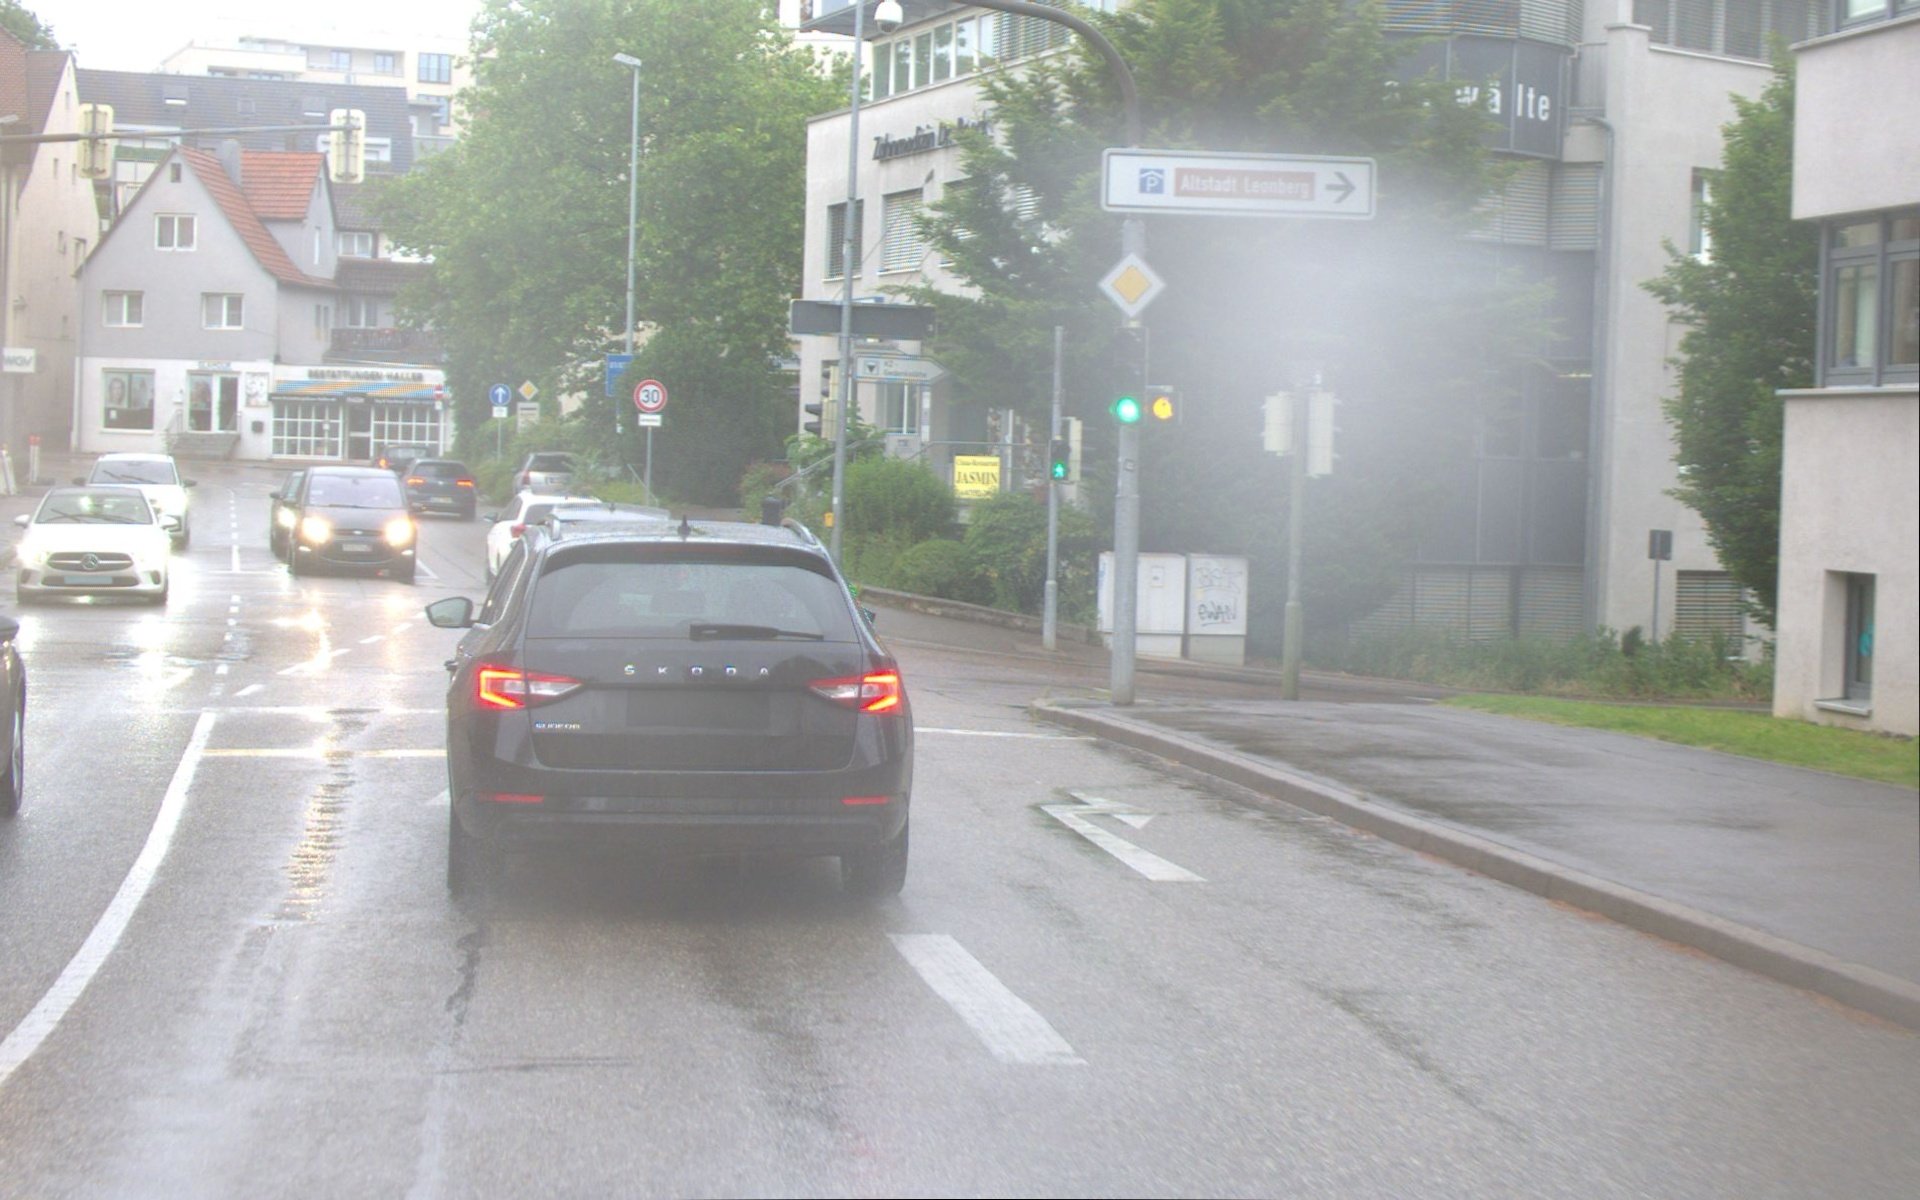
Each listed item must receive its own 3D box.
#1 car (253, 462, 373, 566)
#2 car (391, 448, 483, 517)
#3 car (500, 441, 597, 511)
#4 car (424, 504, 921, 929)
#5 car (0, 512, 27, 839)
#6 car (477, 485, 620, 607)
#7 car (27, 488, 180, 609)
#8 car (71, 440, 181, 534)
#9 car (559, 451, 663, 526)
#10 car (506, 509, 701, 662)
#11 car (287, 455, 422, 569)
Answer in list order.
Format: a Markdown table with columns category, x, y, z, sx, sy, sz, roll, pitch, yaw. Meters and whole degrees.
| category | x | y | z | sx | sy | sz | roll | pitch | yaw |
| --- | --- | --- | --- | --- | --- | --- | --- | --- | --- |
| car | -10.973 | -1.486 | 58.102 | 1.784 | 1.557 | 4.404 | 2 | 2 | -13 |
| car | -12.549 | -2.802 | 82.328 | 1.892 | 1.585 | 3.690 | 0 | 2 | -13 |
| car | -10.086 | -3.050 | 84.157 | 1.851 | 1.635 | 3.873 | 0 | 3 | -14 |
| car | -1.333 | 0.357 | 14.547 | 1.781 | 1.478 | 4.247 | -1 | 2 | -8 |
| car | -5.010 | 0.314 | 14.716 | 1.770 | 1.397 | 3.920 | 0 | 1 | -12 |
| car | -5.918 | -0.734 | 49.135 | 1.727 | 1.585 | 4.185 | 3 | -1 | -10 |
| car | -10.703 | -0.684 | 43.166 | 1.690 | 1.368 | 4.115 | 0 | 3 | -11 |
| car | -14.772 | -2.034 | 61.049 | 1.784 | 1.555 | 4.339 | 1 | 3 | -13 |
| car | -7.985 | -2.563 | 78.449 | 1.851 | 1.635 | 3.540 | 0 | 3 | -14 |
| car | -3.643 | -0.189 | 35.046 | 1.817 | 1.355 | 3.991 | 2 | 2 | -6 |
| car | -9.330 | -1.380 | 52.735 | 1.784 | 1.557 | 4.404 | 2 | 2 | -13 |
